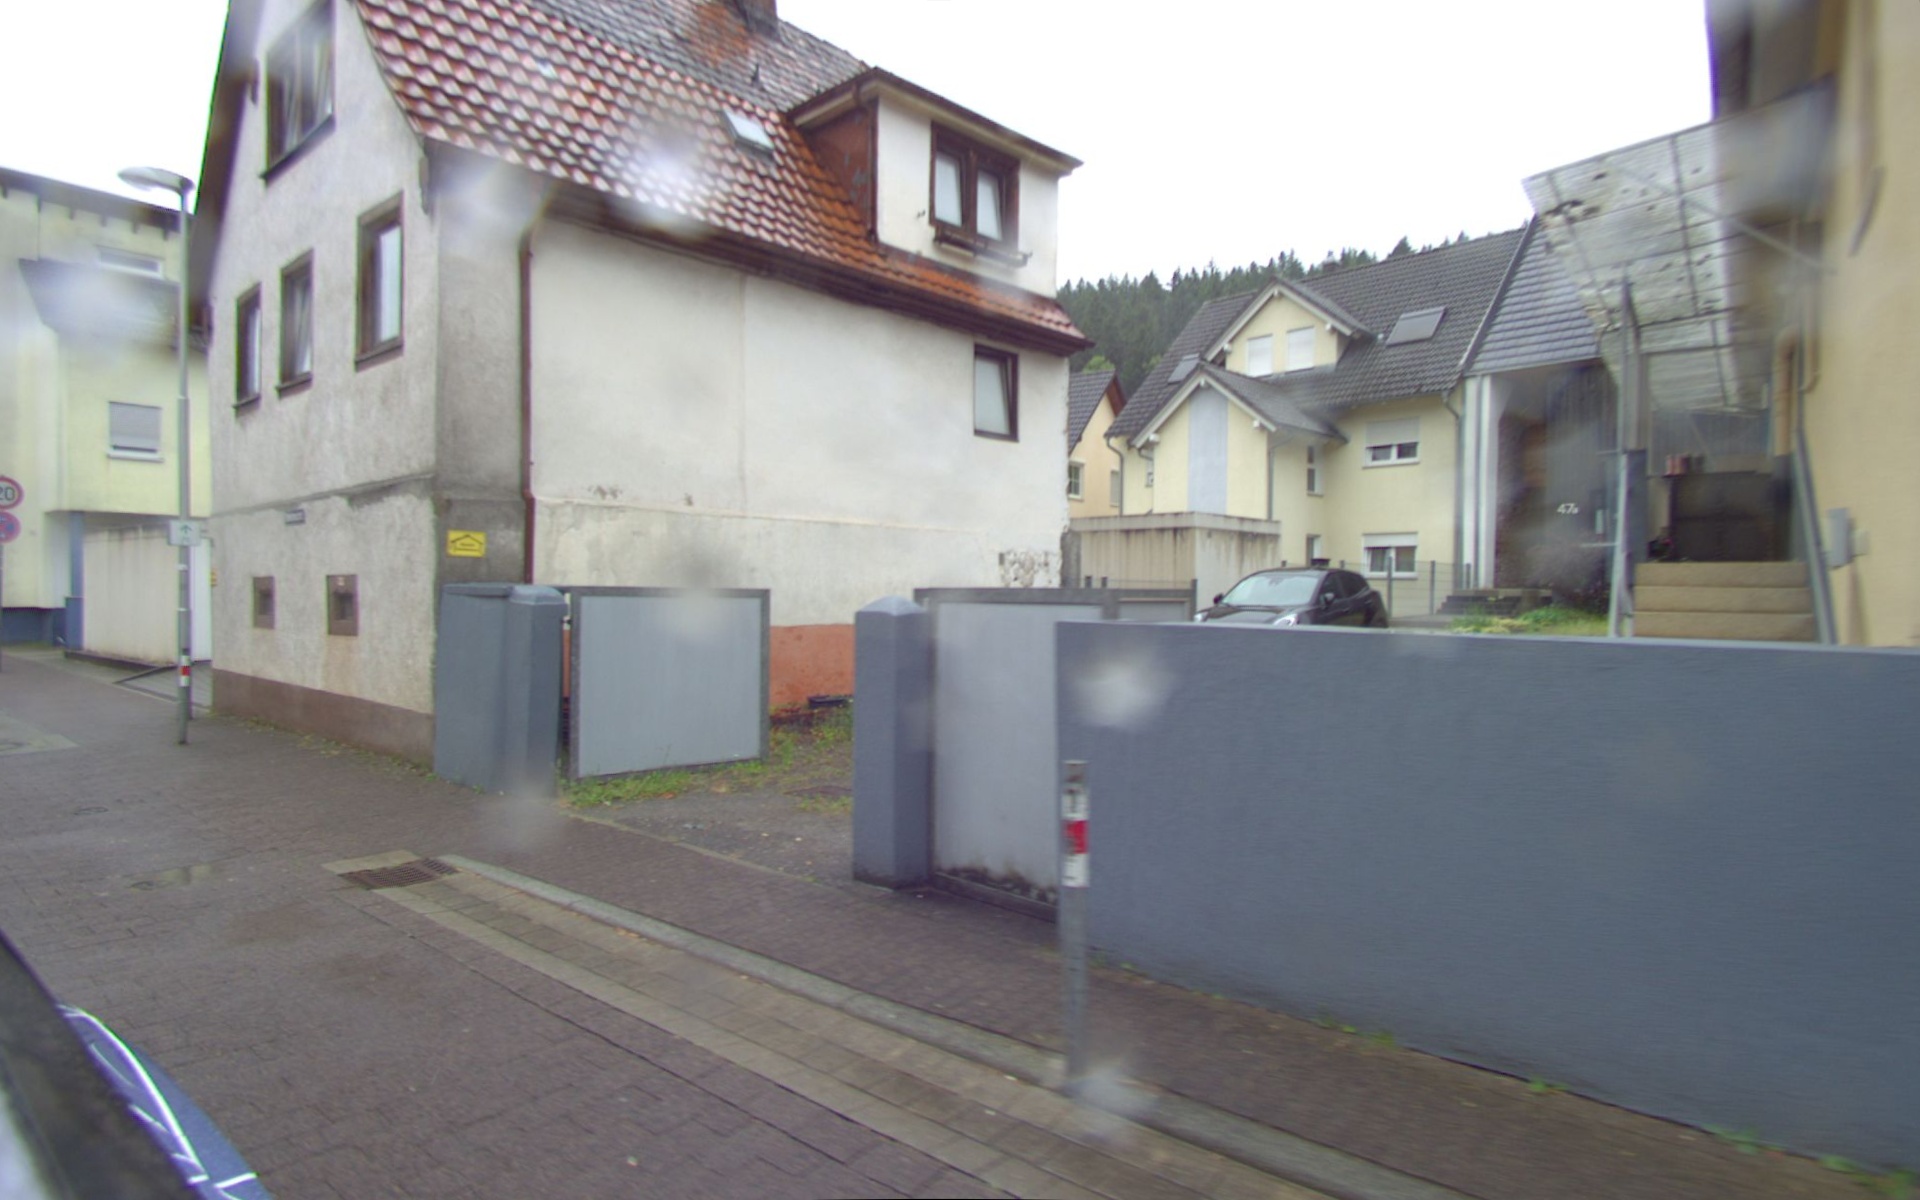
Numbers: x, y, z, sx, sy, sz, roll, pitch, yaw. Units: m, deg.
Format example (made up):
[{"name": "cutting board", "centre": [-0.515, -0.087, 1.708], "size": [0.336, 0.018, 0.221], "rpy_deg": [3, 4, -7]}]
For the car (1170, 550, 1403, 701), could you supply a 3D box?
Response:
[{"name": "car", "centre": [4.810, 0.225, 14.495], "size": [2.031, 1.733, 4.164], "rpy_deg": [0, 3, 35]}]
